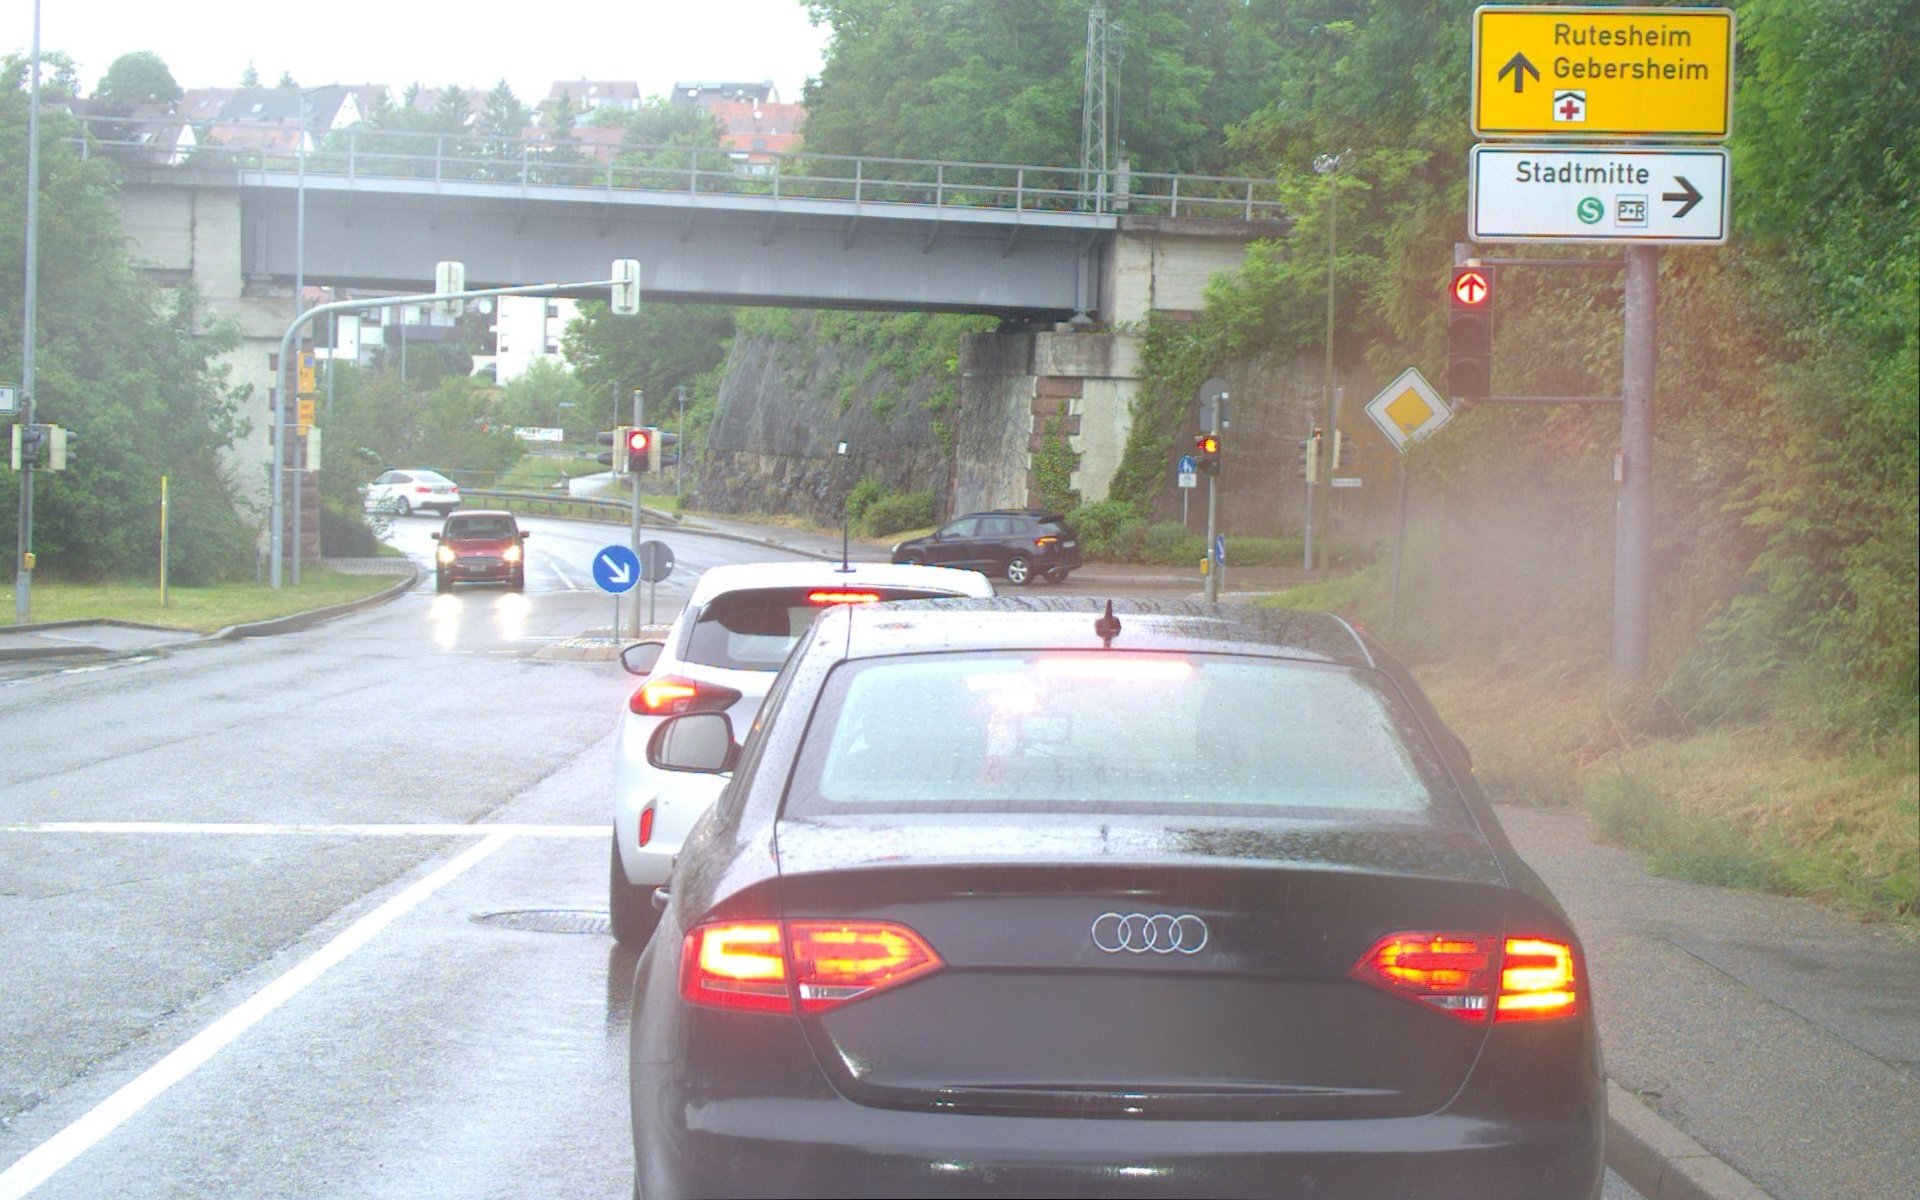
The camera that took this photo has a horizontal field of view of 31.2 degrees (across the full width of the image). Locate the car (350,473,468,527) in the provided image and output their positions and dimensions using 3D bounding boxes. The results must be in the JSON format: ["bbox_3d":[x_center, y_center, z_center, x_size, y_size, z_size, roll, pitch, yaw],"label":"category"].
[{"bbox_3d":[-18.814,-3.391,117.286,1.805,1.736,4.478,1,0,-42],"label":"car"}]

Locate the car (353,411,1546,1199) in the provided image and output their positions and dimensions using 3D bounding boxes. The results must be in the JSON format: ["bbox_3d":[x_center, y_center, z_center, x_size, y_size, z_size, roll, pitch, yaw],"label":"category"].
[{"bbox_3d":[-0.043,0.518,7.419,1.870,1.611,4.000,0,0,-1],"label":"car"}]

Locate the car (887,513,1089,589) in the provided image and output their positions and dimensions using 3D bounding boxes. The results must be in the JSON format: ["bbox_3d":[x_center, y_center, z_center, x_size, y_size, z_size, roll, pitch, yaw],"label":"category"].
[{"bbox_3d":[0.600,-1.078,74.703,3.996,1.590,1.996,1,2,38],"label":"car"}]

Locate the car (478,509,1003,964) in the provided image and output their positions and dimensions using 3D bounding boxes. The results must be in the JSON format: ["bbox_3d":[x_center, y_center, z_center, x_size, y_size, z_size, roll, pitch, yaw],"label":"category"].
[{"bbox_3d":[-0.795,0.482,14.042,1.823,1.579,4.000,0,0,-1],"label":"car"}]

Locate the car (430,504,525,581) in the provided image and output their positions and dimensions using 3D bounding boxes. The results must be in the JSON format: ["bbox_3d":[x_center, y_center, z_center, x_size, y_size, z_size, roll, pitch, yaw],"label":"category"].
[{"bbox_3d":[-10.486,-1.262,74.885,1.993,1.622,4.001,0,1,-7],"label":"car"}]
